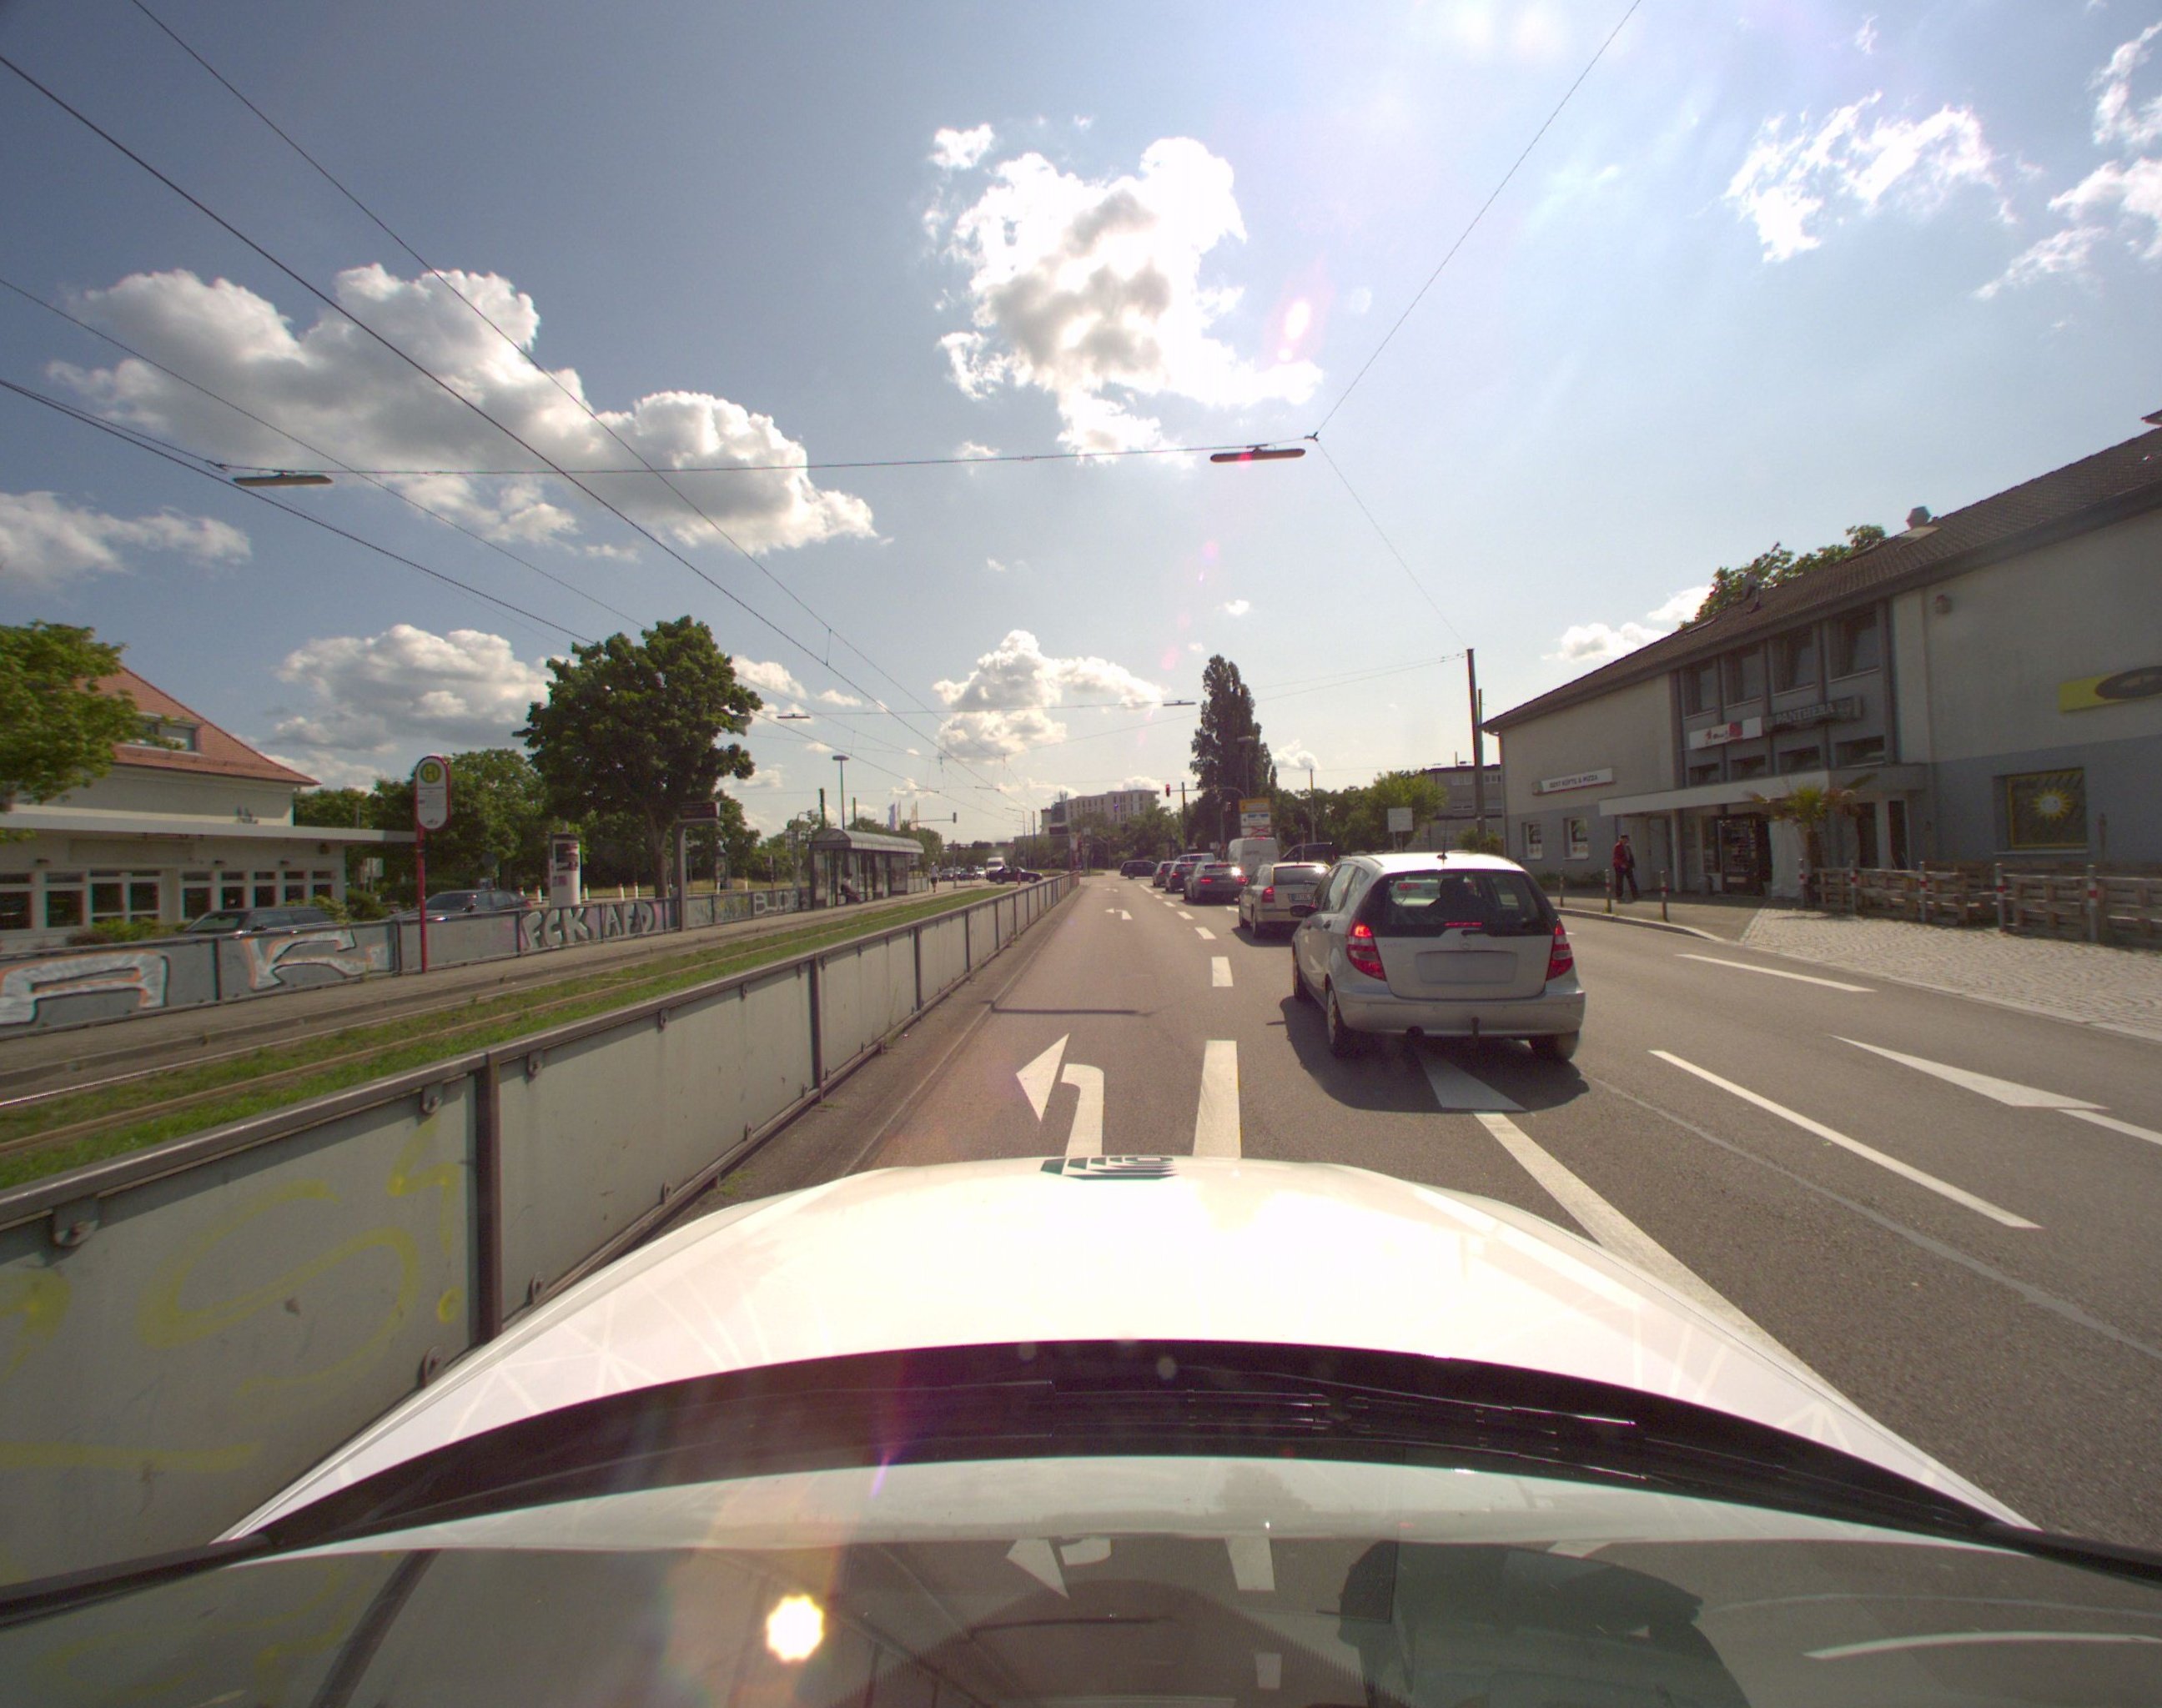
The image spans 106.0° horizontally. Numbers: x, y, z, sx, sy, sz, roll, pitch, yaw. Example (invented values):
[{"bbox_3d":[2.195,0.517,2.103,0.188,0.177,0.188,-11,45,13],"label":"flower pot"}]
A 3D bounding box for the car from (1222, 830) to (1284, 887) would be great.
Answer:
[{"bbox_3d":[8.434,0.211,40.418,2.033,2.557,5.233,-2,0,1],"label":"car"}]

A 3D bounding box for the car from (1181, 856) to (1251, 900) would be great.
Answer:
[{"bbox_3d":[4.856,0.815,29.870,1.880,1.448,4.830,-1,0,2],"label":"car"}]

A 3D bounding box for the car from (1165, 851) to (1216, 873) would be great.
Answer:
[{"bbox_3d":[10.461,0.732,78.157,4.659,1.936,2.001,-2,-1,1],"label":"car"}]

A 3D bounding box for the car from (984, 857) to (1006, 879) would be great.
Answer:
[{"bbox_3d":[-10.216,1.666,96.985,1.987,2.606,4.877,-1,-1,0],"label":"car"}]

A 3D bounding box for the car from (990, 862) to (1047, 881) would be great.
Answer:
[{"bbox_3d":[-5.119,1.442,67.113,4.442,1.514,2.001,-1,-1,2],"label":"car"}]

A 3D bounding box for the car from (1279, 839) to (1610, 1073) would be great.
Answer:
[{"bbox_3d":[2.974,0.722,7.641,1.777,1.577,4.104,-2,0,9],"label":"car"}]

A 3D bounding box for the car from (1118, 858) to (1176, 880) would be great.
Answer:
[{"bbox_3d":[5.434,1.243,66.725,4.650,1.549,2.004,-3,0,6],"label":"car"}]

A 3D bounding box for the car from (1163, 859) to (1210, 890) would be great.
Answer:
[{"bbox_3d":[5.030,0.952,39.386,1.862,1.419,4.101,-1,0,2],"label":"car"}]

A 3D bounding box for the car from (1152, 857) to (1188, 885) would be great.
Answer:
[{"bbox_3d":[5.206,0.977,47.862,1.738,1.499,4.381,-1,0,2],"label":"car"}]

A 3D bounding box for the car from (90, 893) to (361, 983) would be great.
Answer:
[{"bbox_3d":[-18.986,1.788,18.370,1.778,1.584,3.934,-2,0,4],"label":"car"}]

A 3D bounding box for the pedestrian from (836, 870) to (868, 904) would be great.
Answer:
[{"bbox_3d":[-9.602,1.391,34.179,1.055,1.376,0.861,-1,-1,2],"label":"pedestrian"}]

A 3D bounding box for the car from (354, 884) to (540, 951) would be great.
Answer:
[{"bbox_3d":[-18.870,1.815,24.606,2.056,1.614,4.747,-3,0,-4],"label":"car"}]

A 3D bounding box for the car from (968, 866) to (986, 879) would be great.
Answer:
[{"bbox_3d":[-13.290,2.366,104.263,1.797,1.541,4.161,-1,-1,-2],"label":"car"}]

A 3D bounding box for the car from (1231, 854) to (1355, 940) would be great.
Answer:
[{"bbox_3d":[4.223,0.781,16.902,1.730,1.492,4.636,-1,0,5],"label":"car"}]

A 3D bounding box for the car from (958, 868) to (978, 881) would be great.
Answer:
[{"bbox_3d":[-13.293,2.407,95.984,1.891,1.541,3.726,-1,-1,-2],"label":"car"}]

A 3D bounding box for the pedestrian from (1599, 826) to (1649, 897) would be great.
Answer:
[{"bbox_3d":[14.301,0.189,21.467,0.718,1.783,0.704,-5,-1,4],"label":"pedestrian"}]

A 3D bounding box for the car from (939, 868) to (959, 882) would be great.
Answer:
[{"bbox_3d":[-15.842,2.514,98.077,1.858,1.651,3.996,-1,-1,-2],"label":"car"}]

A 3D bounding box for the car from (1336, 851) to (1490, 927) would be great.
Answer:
[{"bbox_3d":[7.394,0.718,18.656,1.847,1.492,4.539,-1,0,3],"label":"car"}]

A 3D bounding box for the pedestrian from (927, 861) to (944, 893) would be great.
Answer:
[{"bbox_3d":[-8.354,1.322,46.875,0.805,1.795,0.708,-2,-1,-1],"label":"pedestrian"}]
